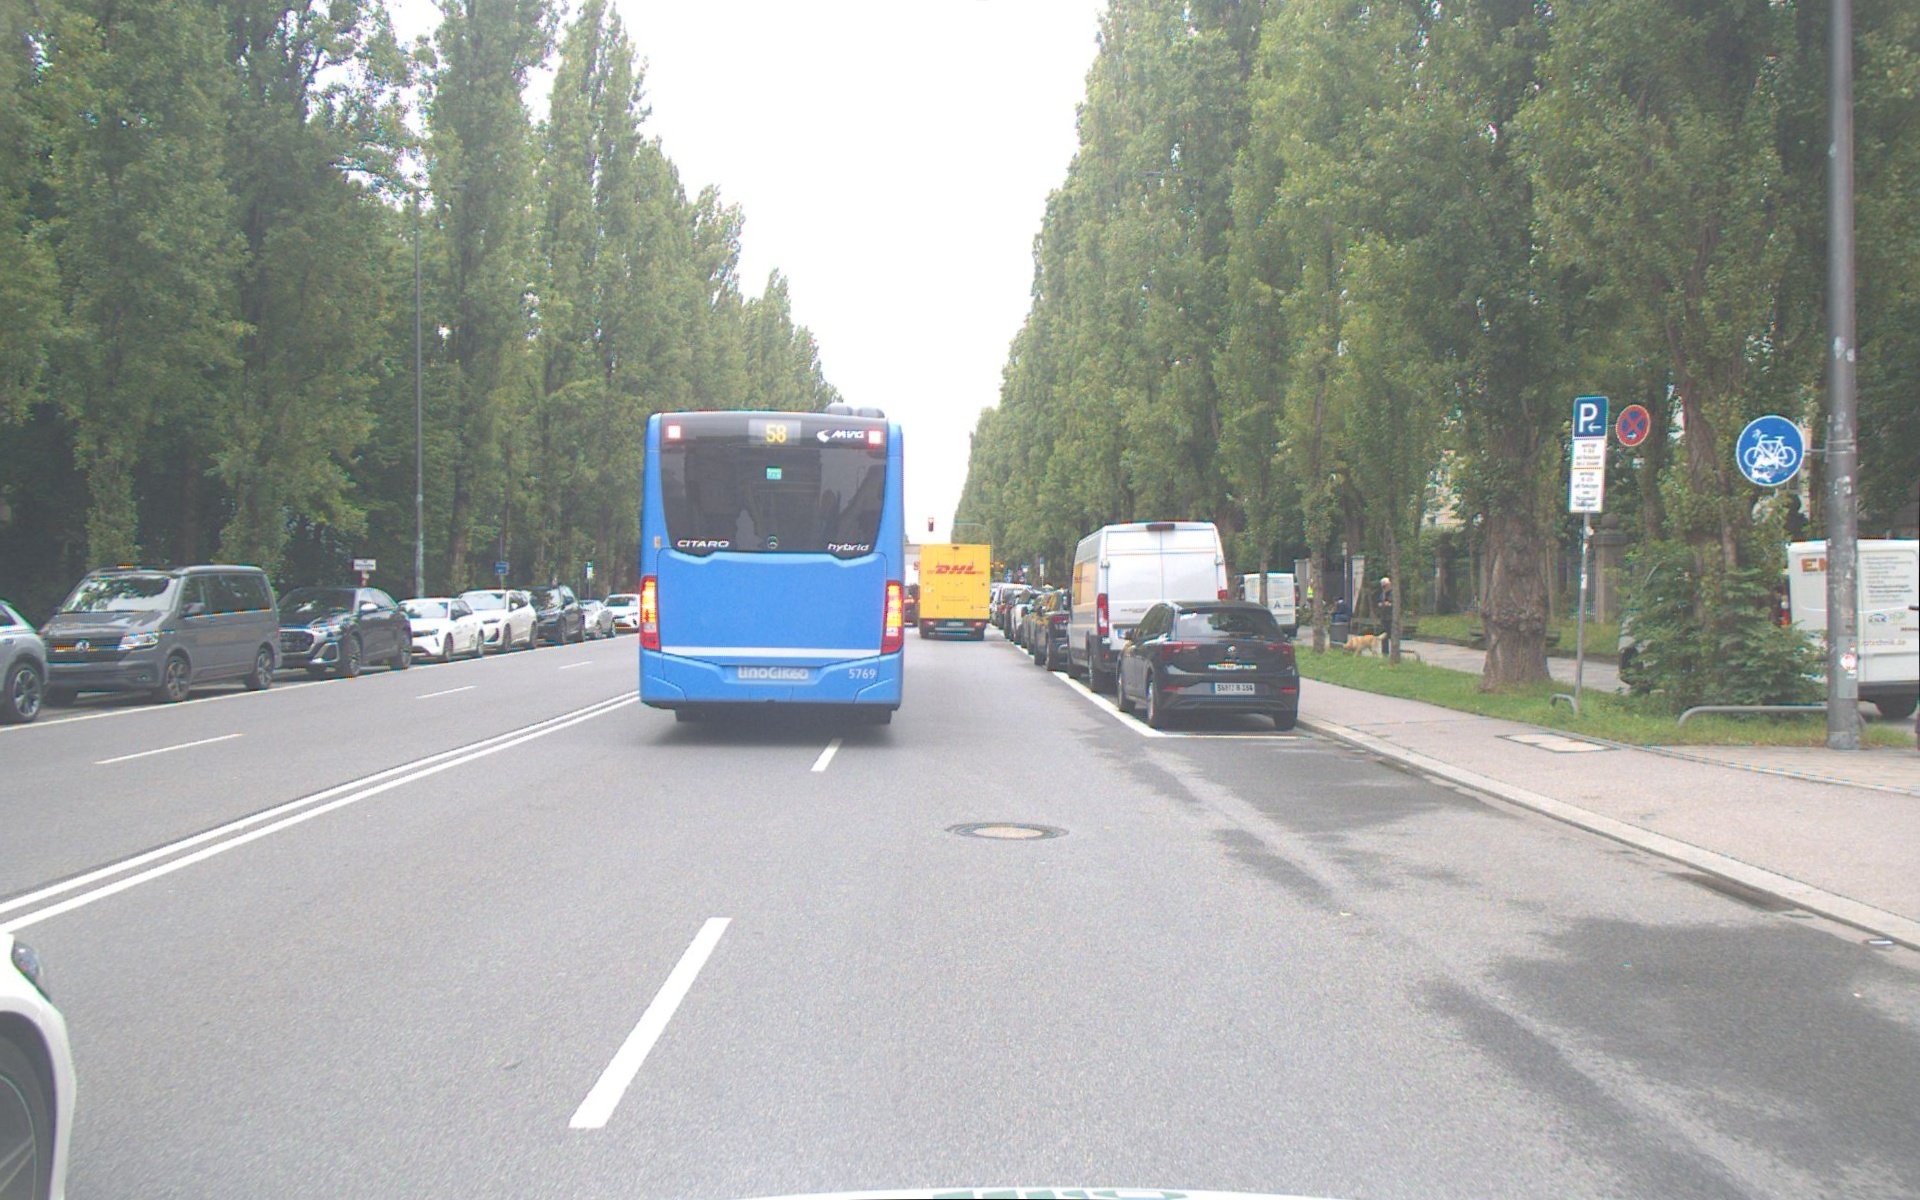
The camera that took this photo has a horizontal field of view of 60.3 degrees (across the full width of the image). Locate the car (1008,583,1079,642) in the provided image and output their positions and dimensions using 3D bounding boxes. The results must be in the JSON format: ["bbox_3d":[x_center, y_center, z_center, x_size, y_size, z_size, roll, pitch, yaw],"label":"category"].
[{"bbox_3d":[2.411,0.341,48.526,1.745,1.609,4.146,2,0,-1],"label":"car"}]

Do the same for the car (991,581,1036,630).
[{"bbox_3d":[2.272,0.222,70.824,1.769,2.011,4.236,0,0,0],"label":"car"}]

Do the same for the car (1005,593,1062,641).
[{"bbox_3d":[2.373,0.535,54.190,1.690,1.521,4.323,0,0,0],"label":"car"}]

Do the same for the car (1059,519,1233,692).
[{"bbox_3d":[2.935,0.067,27.497,2.032,2.522,6.282,1,0,-1],"label":"car"}]

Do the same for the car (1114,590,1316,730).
[{"bbox_3d":[2.984,0.646,20.141,1.719,1.475,3.999,2,0,-1],"label":"car"}]

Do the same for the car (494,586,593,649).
[{"bbox_3d":[-12.339,0.477,49.312,1.842,1.687,4.716,-3,1,-2],"label":"car"}]

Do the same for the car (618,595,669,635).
[{"bbox_3d":[-13.008,0.609,68.113,1.710,1.545,4.112,-2,0,-6],"label":"car"}]

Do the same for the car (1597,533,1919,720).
[{"bbox_3d":[9.682,0.274,20.035,1.953,1.980,5.082,0,0,0],"label":"car"}]

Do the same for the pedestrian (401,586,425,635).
[{"bbox_3d":[-20.497,0.394,61.992,0.627,1.847,0.775,0,0,-1],"label":"pedestrian"}]

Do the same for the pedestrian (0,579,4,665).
[{"bbox_3d":[-20.175,0.463,34.030,0.596,1.787,0.757,0,0,-2],"label":"pedestrian"}]

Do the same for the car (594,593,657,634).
[{"bbox_3d":[-12.801,0.496,63.459,1.651,1.437,4.003,-2,0,-2],"label":"car"}]

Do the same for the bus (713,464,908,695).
[{"bbox_3d":[-2.403,-0.314,28.952,2.814,3.362,9.784,0,0,-3],"label":"bus"}]

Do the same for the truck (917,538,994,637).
[{"bbox_3d":[-0.218,-0.370,53.048,2.280,2.949,7.331,0,0,-1],"label":"truck"}]

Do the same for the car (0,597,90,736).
[{"bbox_3d":[-12.067,0.796,18.888,1.852,1.612,4.653,-1,0,-1],"label":"car"}]

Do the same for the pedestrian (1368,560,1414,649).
[{"bbox_3d":[9.200,0.084,35.324,0.643,1.871,0.782,0,0,-15],"label":"pedestrian"}]

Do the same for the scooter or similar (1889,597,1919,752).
[{"bbox_3d":[8.156,0.621,13.626,0.329,1.288,1.185,0,0,0],"label":"scooter or similar"}]

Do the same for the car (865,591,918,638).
[{"bbox_3d":[-2.754,0.543,67.298,1.994,1.833,4.507,0,0,-1],"label":"car"}]

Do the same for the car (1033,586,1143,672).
[{"bbox_3d":[2.516,0.548,33.465,1.784,1.618,4.222,1,0,-1],"label":"car"}]

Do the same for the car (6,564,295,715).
[{"bbox_3d":[-12.001,0.508,24.963,1.953,1.990,4.936,-2,0,-1],"label":"car"}]

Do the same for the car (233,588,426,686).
[{"bbox_3d":[-11.884,0.649,31.563,1.778,1.637,5.052,-2,0,-1],"label":"car"}]

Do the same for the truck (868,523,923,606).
[{"bbox_3d":[-3.344,-1.748,84.612,2.662,4.034,9.212,0,0,-3],"label":"truck"}]

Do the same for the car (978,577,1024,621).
[{"bbox_3d":[1.901,-0.063,79.064,2.011,2.049,5.692,0,0,0],"label":"car"}]

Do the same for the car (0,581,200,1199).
[{"bbox_3d":[-2.630,0.693,1.491,1.788,1.480,4.582,1,0,-1],"label":"car"}]

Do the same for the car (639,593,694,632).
[{"bbox_3d":[-12.917,0.526,72.980,1.778,1.672,3.999,0,0,-2],"label":"car"}]

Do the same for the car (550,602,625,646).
[{"bbox_3d":[-12.343,0.782,55.018,1.548,1.327,4.028,-2,0,0],"label":"car"}]

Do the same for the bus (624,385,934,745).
[{"bbox_3d":[-1.906,-0.337,19.668,2.799,3.270,9.054,0,0,-3],"label":"bus"}]

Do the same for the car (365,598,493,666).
[{"bbox_3d":[-12.208,0.702,38.273,1.642,1.447,4.236,-2,0,-1],"label":"car"}]

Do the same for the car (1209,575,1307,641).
[{"bbox_3d":[9.257,0.236,51.811,1.953,1.959,5.322,0,0,-2],"label":"car"}]

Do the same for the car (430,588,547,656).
[{"bbox_3d":[-12.299,0.538,43.410,1.749,1.616,4.461,-2,1,0],"label":"car"}]

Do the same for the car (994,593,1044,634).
[{"bbox_3d":[2.305,0.519,65.310,1.825,1.579,4.000,0,0,0],"label":"car"}]
